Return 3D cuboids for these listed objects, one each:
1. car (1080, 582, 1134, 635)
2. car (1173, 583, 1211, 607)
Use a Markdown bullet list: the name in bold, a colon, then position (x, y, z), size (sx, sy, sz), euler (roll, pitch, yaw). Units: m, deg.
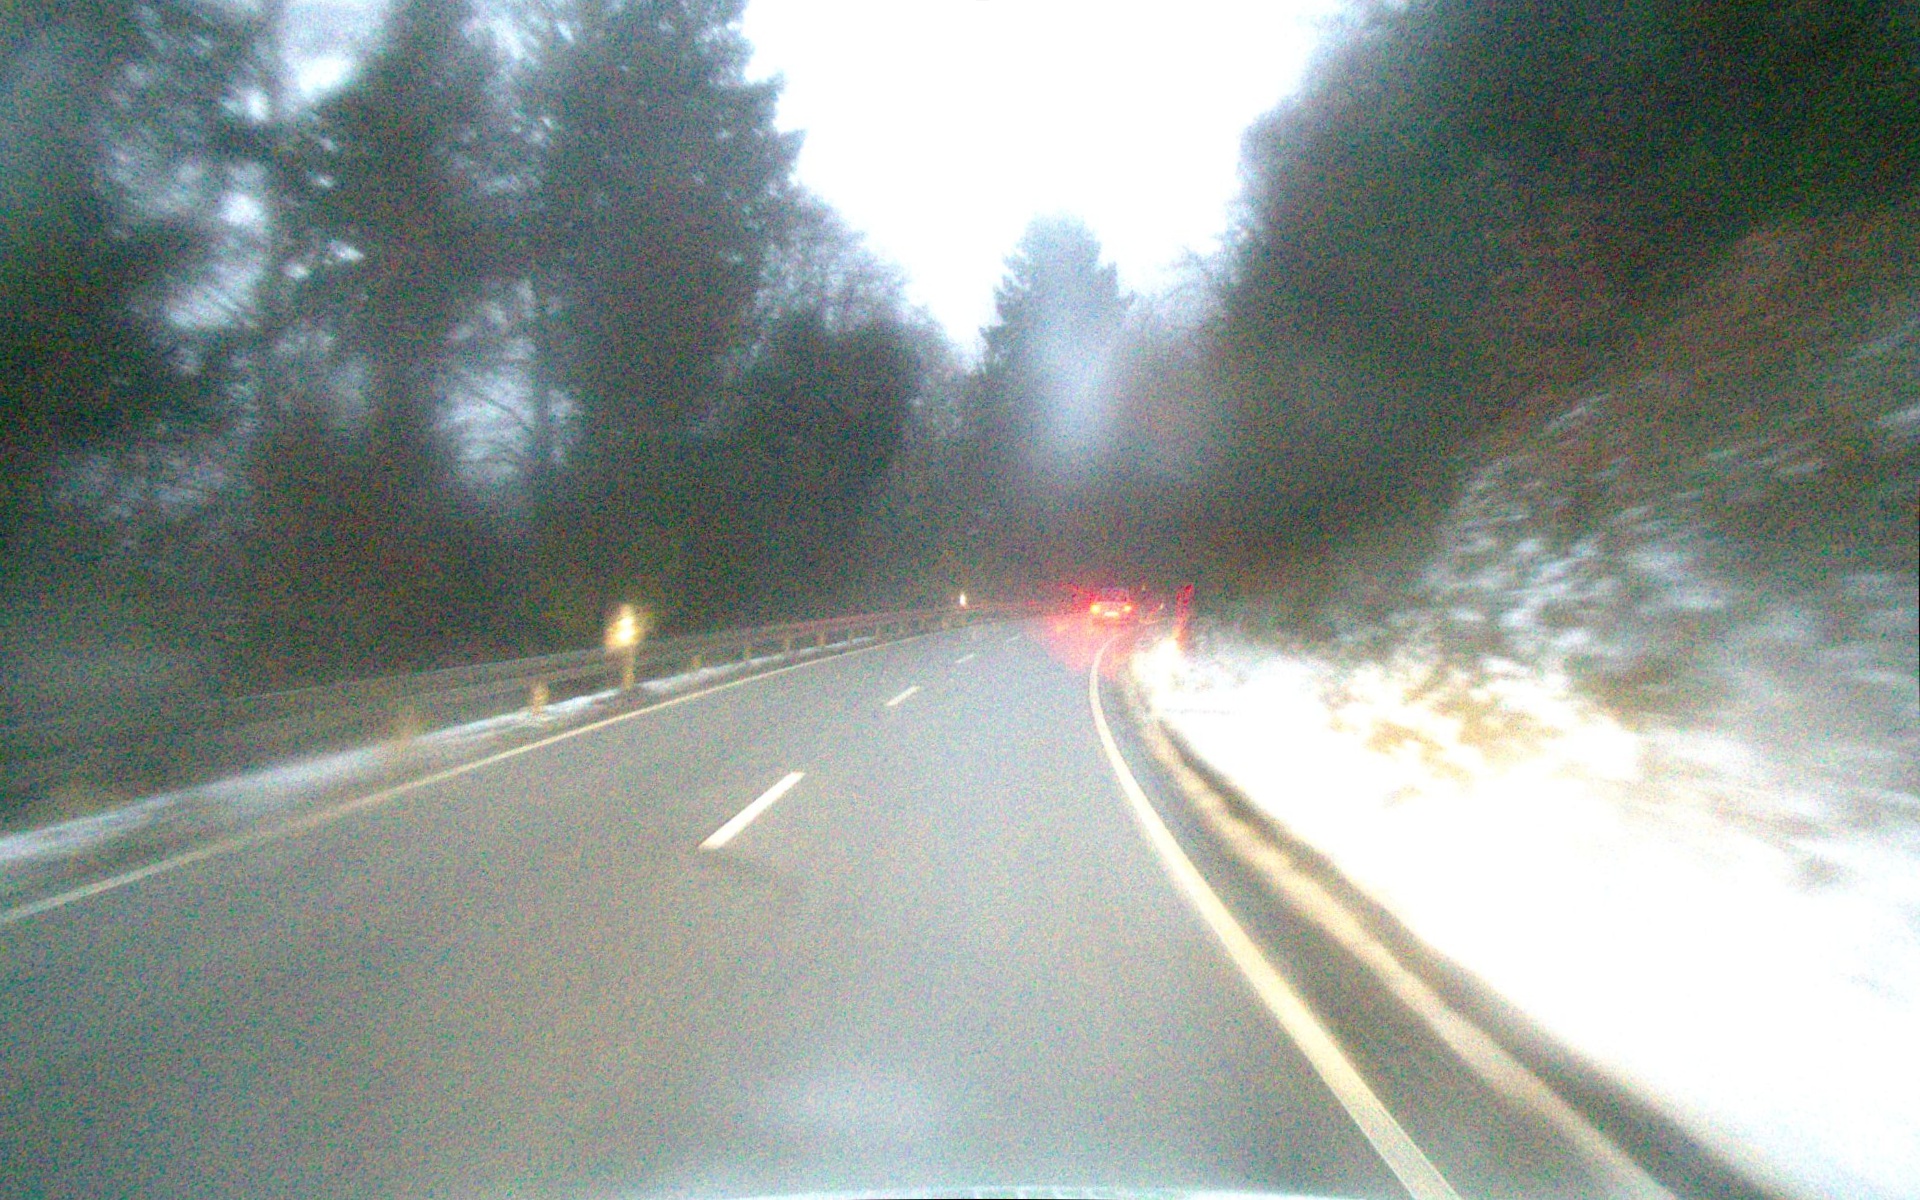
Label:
- **car**: position (5.700, 0.309, 64.347), size (1.951, 1.905, 4.002), euler (-2, 0, 4)
- **car**: position (13.762, -0.325, 98.137), size (1.952, 1.333, 4.002), euler (-2, 0, 4)
